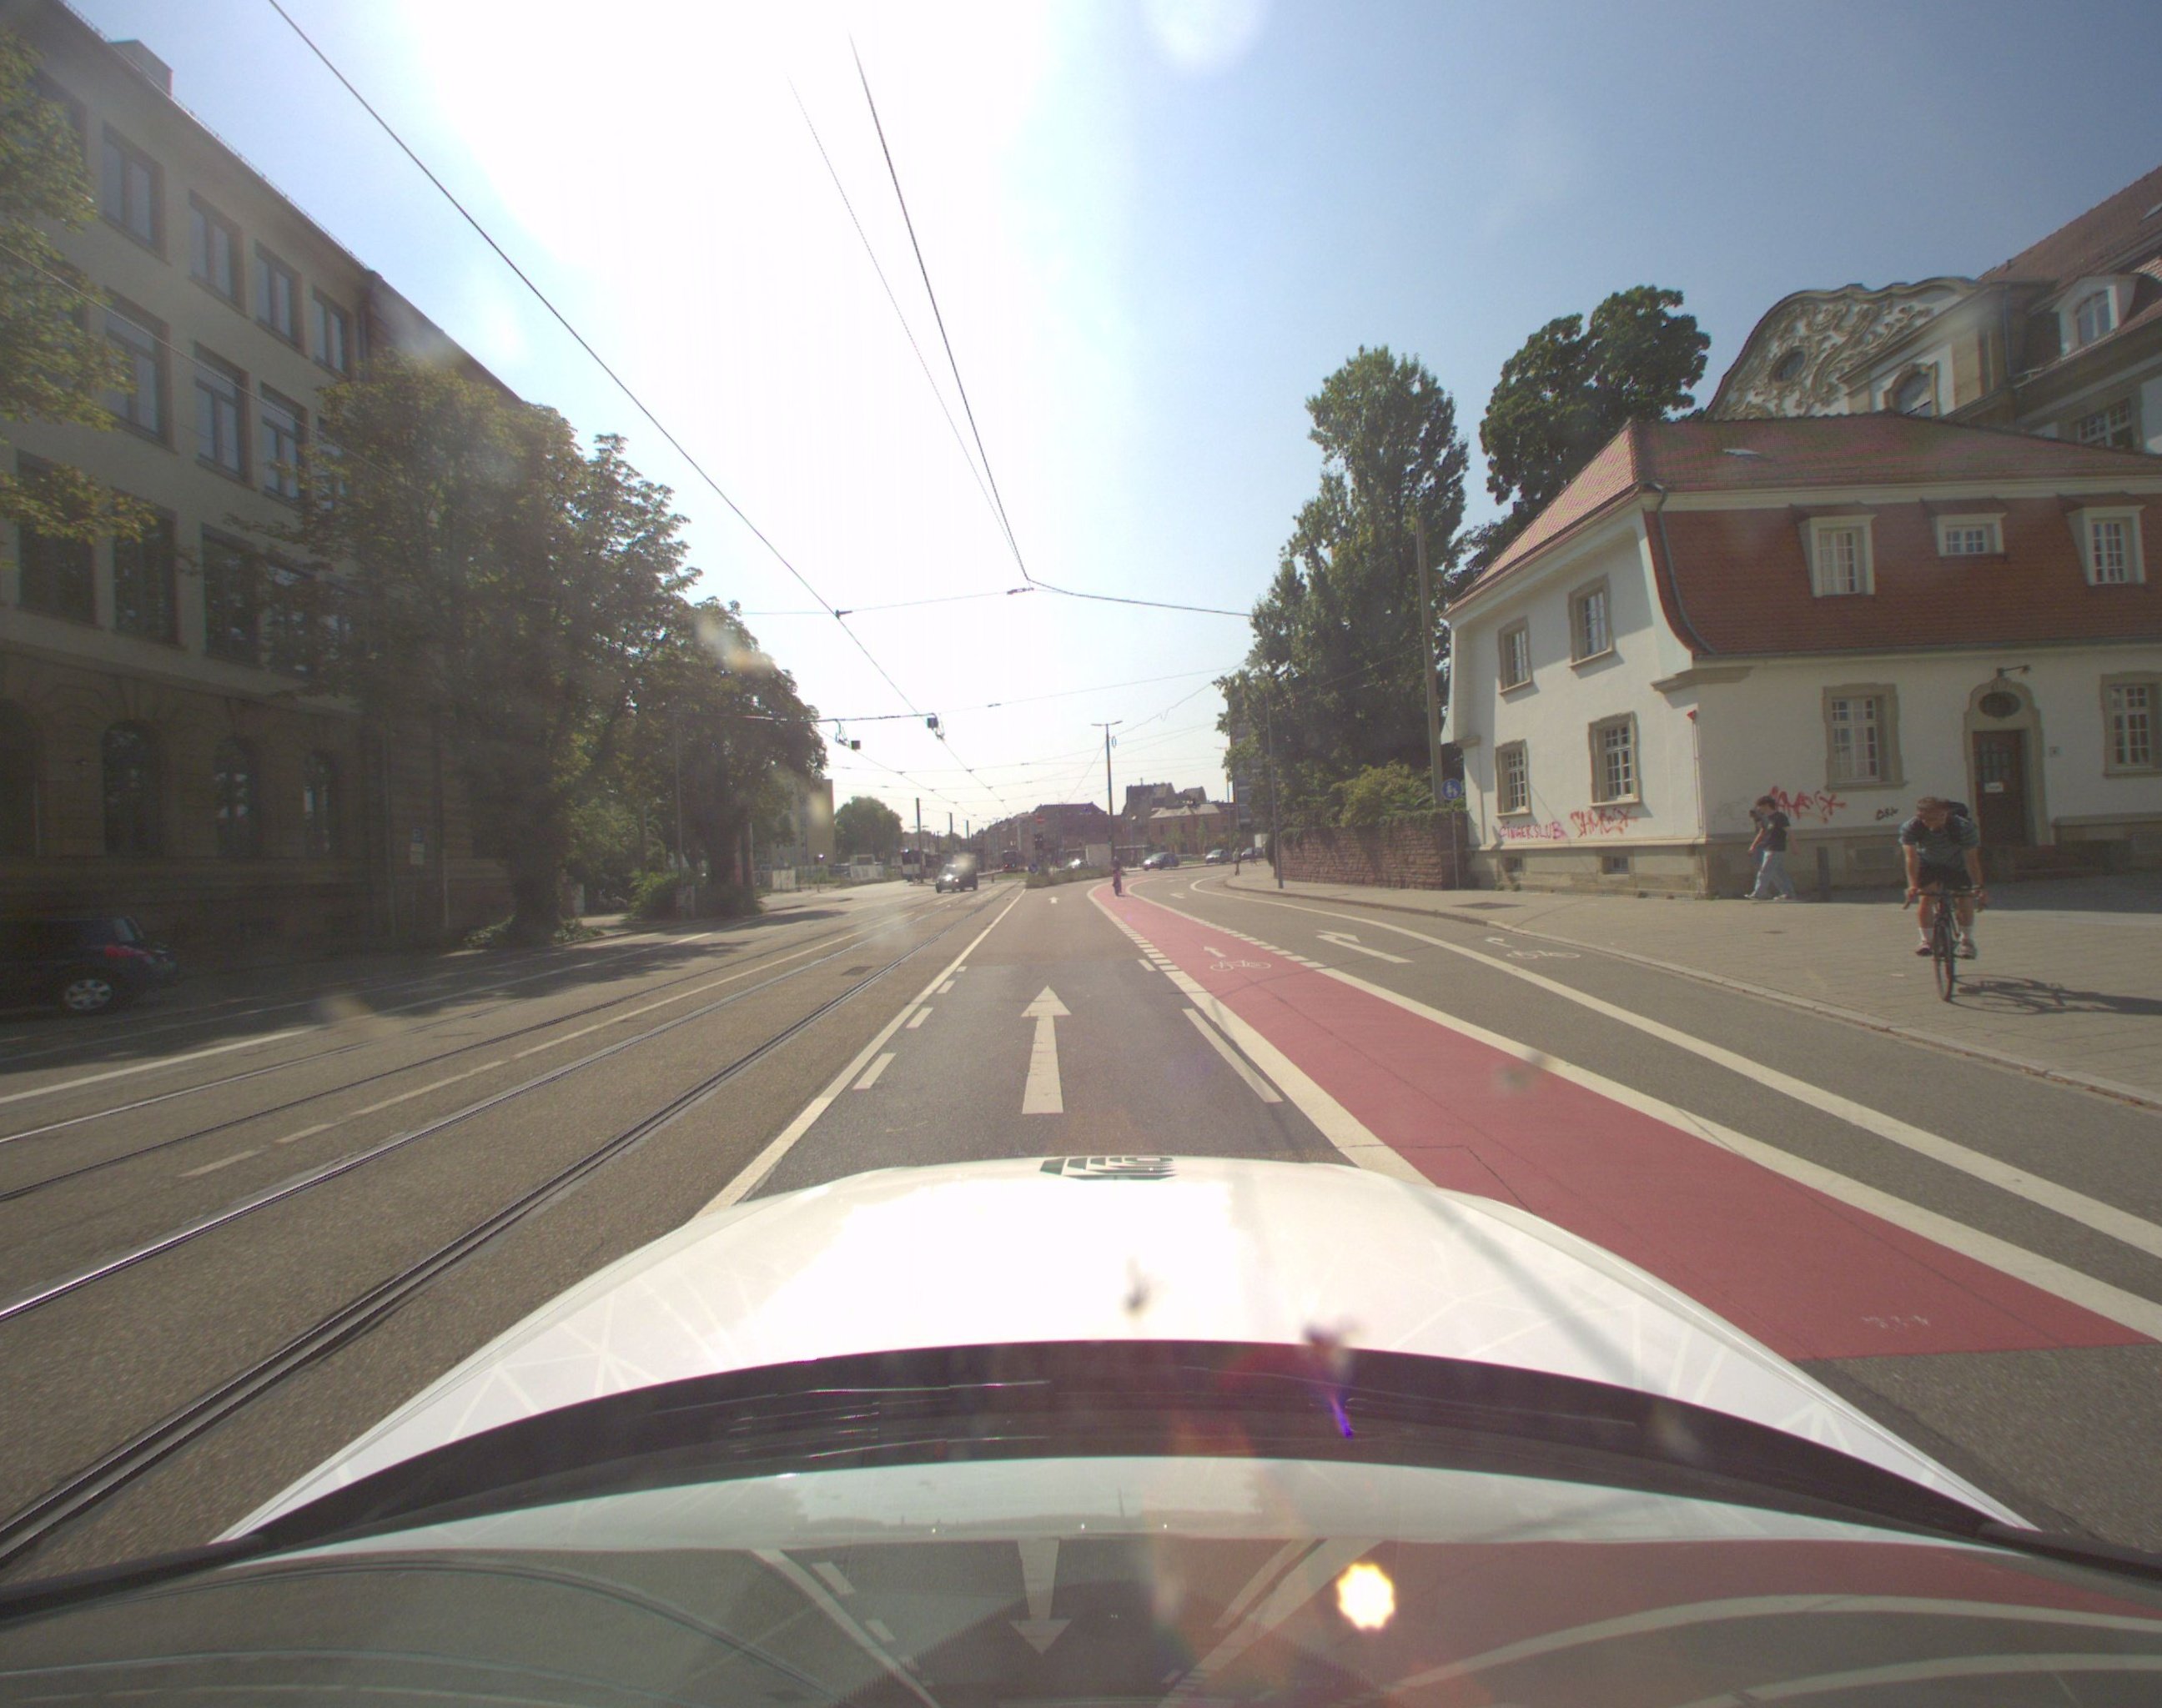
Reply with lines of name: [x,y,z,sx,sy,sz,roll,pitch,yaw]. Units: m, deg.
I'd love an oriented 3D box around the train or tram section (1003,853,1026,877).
train or tram section: [-10.665,1.780,132.466,2.849,3.548,17.723,-2,-1,-2]

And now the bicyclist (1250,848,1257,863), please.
bicyclist: [16.518,0.142,77.929,0.445,1.421,0.499,-4,-1,34]

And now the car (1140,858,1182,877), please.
car: [7.712,1.282,78.133,1.754,1.610,4.704,-4,-1,37]

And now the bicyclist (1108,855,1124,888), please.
bicyclist: [1.471,0.727,34.516,0.601,1.335,0.659,-3,-1,-1]

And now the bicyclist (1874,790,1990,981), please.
bicyclist: [7.709,0.258,7.381,0.998,1.598,0.620,-3,-1,-42]

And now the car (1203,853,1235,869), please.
car: [15.064,0.748,88.873,1.634,1.530,4.353,-4,-1,36]

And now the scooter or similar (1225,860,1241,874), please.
scooter or similar: [10.801,0.942,57.714,0.765,0.926,1.629,-3,0,22]

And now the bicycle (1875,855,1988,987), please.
bicycle: [7.771,0.559,7.430,1.721,1.000,0.608,-3,-1,-42]

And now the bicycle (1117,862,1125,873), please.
bicycle: [4.616,1.539,93.532,0.600,1.210,1.815,-3,-1,9]

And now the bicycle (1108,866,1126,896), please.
bicycle: [1.510,1.126,34.521,0.602,1.163,1.809,-3,-1,-1]

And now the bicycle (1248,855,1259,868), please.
bicycle: [16.423,0.726,77.726,0.440,1.117,1.455,-4,-1,34]

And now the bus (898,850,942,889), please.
bus: [-17.157,1.678,87.561,2.951,3.775,10.584,-2,-1,-3]

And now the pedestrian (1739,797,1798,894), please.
pedestrian: [12.222,-0.149,14.491,0.482,1.666,0.622,-3,-1,10]

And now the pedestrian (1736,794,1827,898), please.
pedestrian: [11.832,-0.129,13.789,0.870,1.665,0.732,-3,-1,14]

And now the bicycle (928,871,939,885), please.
bicycle: [-13.501,2.148,74.493,0.605,1.222,1.706,-3,-1,2]

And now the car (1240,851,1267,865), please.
car: [20.848,0.505,98.197,1.680,1.530,4.210,-4,-1,33]

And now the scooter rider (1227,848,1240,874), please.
scooter rider: [10.840,0.518,57.859,0.755,1.775,0.558,-3,-1,22]

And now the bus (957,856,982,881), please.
bus: [-18.113,2.384,133.043,2.702,3.727,10.414,-2,-1,-1]

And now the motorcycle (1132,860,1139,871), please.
motorcycle: [6.595,1.395,99.261,0.600,1.210,2.259,-3,-1,9]

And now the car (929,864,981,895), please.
car: [-7.391,1.455,48.059,1.679,1.655,3.594,-3,-1,14]

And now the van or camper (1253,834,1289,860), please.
van or camper: [25.925,-0.968,110.835,2.376,3.306,7.236,-4,-1,32]

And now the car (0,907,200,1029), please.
car: [-15.570,1.662,11.367,4.185,1.496,1.799,-3,0,-40]
